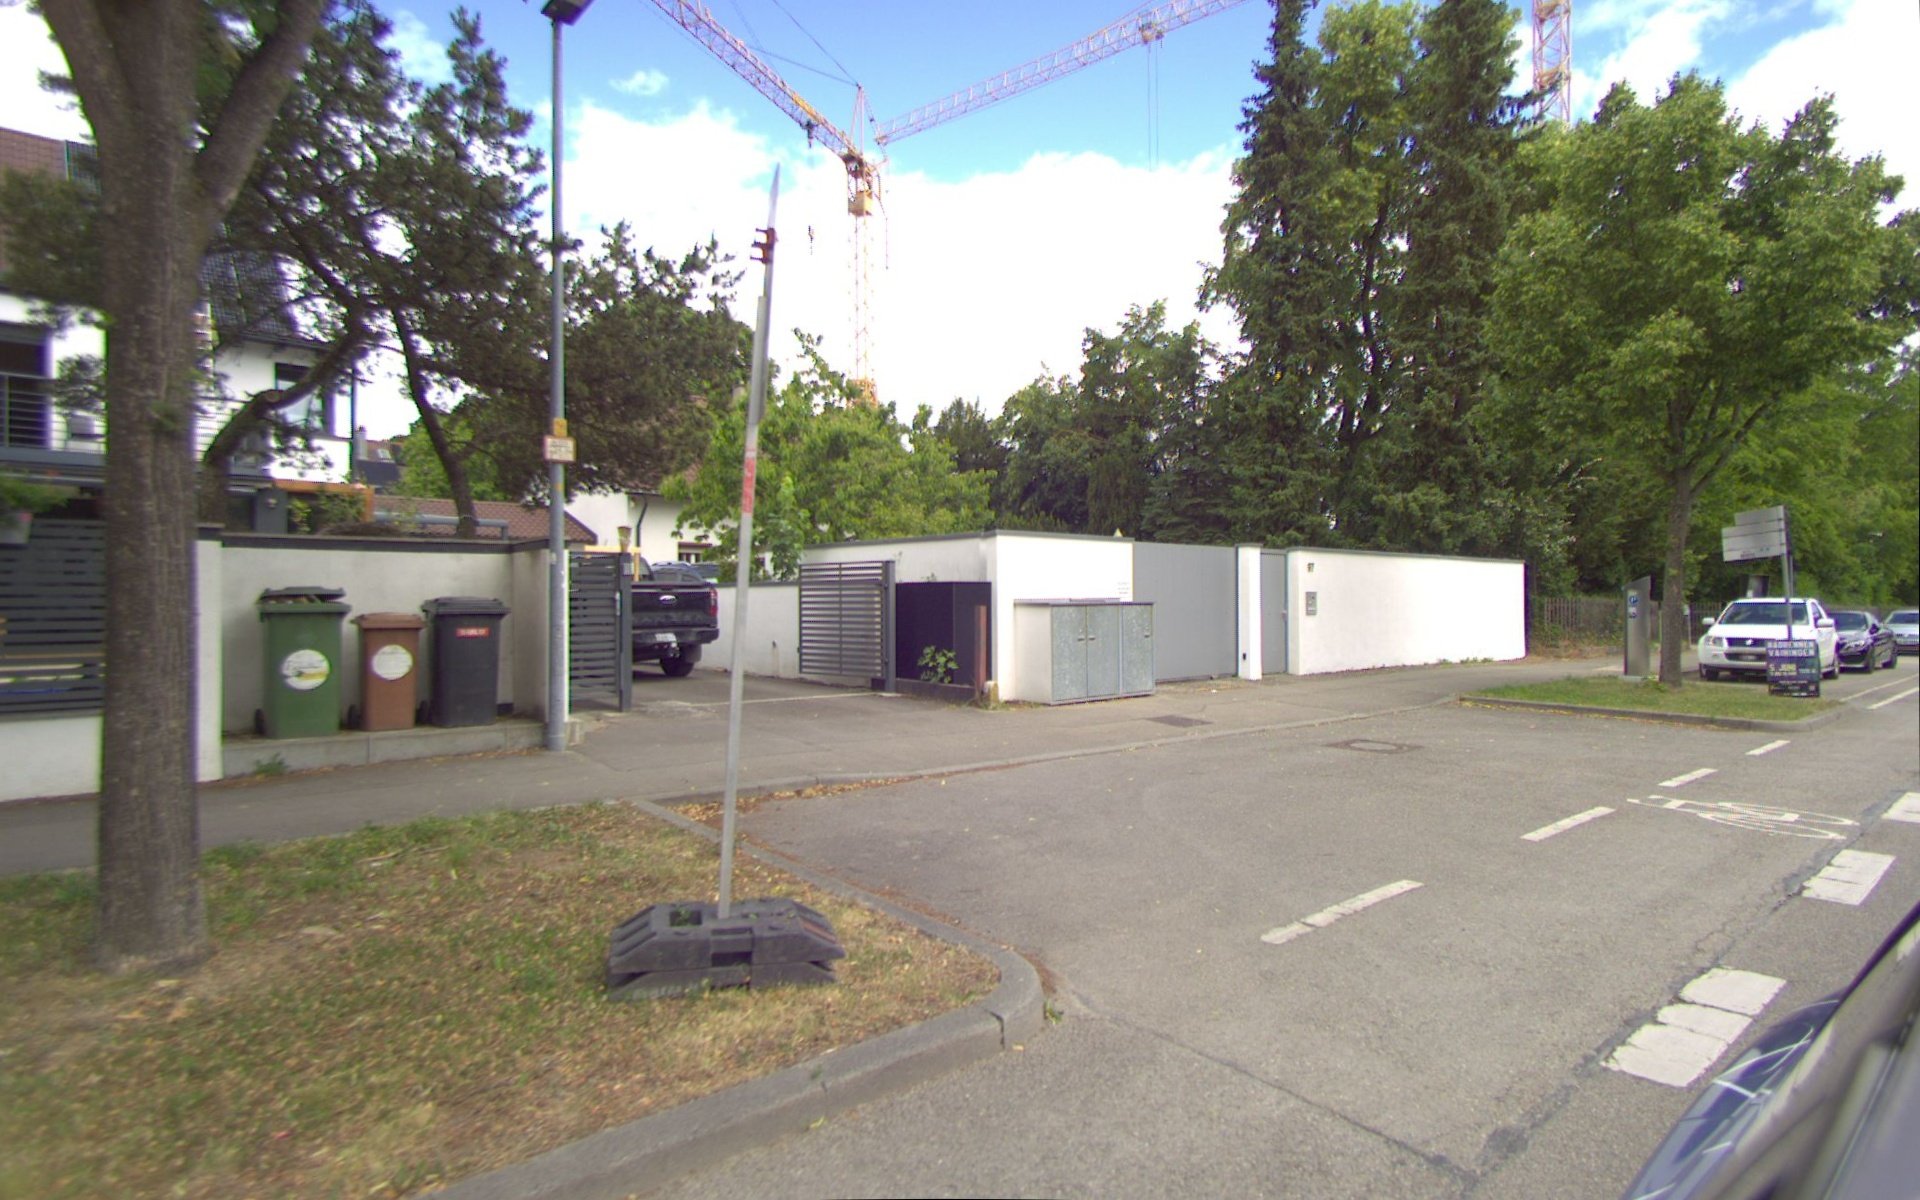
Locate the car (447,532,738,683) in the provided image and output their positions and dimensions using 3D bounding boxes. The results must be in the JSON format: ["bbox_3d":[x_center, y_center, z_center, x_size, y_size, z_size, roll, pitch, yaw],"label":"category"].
[{"bbox_3d":[-5.729,0.076,15.364,5.181,1.927,2.017,0,1,43],"label":"car"}]

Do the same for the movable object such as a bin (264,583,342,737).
[{"bbox_3d":[-4.984,0.433,7.679,0.446,1.123,0.437,1,0,-40],"label":"movable object such as a bin"}]

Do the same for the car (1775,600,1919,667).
[{"bbox_3d":[21.149,0.739,24.039,4.518,1.435,1.868,1,0,-39],"label":"car"}]

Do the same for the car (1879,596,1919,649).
[{"bbox_3d":[31.286,0.668,32.608,4.603,1.631,1.865,0,-1,-40],"label":"car"}]

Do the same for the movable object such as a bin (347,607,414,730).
[{"bbox_3d":[-4.593,0.526,8.025,0.388,0.932,0.437,1,0,-39],"label":"movable object such as a bin"}]

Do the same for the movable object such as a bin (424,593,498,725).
[{"bbox_3d":[-4.094,0.467,8.304,0.446,1.035,0.437,1,0,-40],"label":"movable object such as a bin"}]

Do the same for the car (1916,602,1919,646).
[{"bbox_3d":[35.827,0.848,36.245,4.455,1.530,1.705,1,-2,-39],"label":"car"}]

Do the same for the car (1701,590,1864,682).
[{"bbox_3d":[16.686,0.640,20.470,4.045,1.663,1.904,0,0,-41],"label":"car"}]
